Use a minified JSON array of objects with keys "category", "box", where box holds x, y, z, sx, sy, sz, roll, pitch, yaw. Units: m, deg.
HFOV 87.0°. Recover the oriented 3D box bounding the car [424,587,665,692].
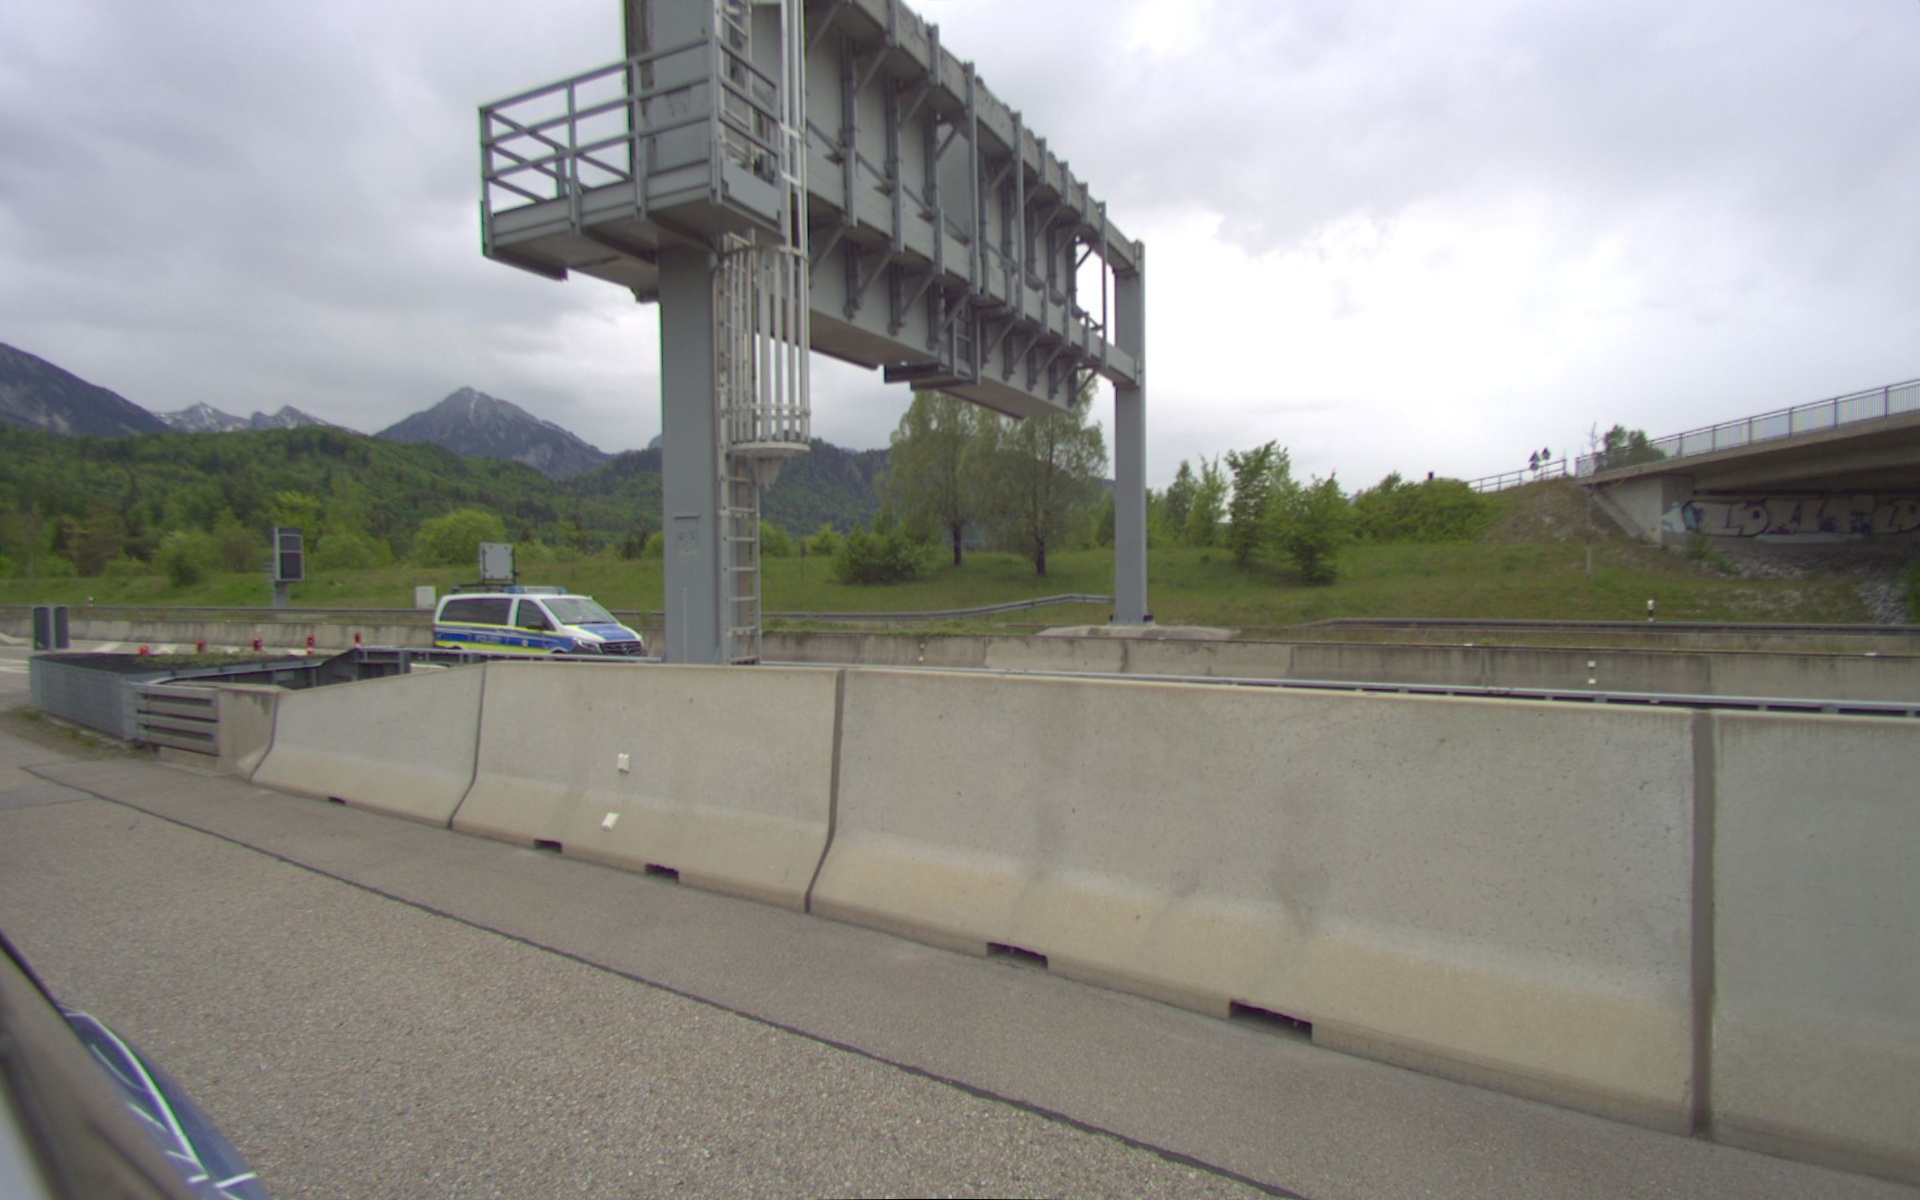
[{"category":"car","box":[-8.942,0.781,21.702,5.028,2.029,2.085,0,-1,28]}]
